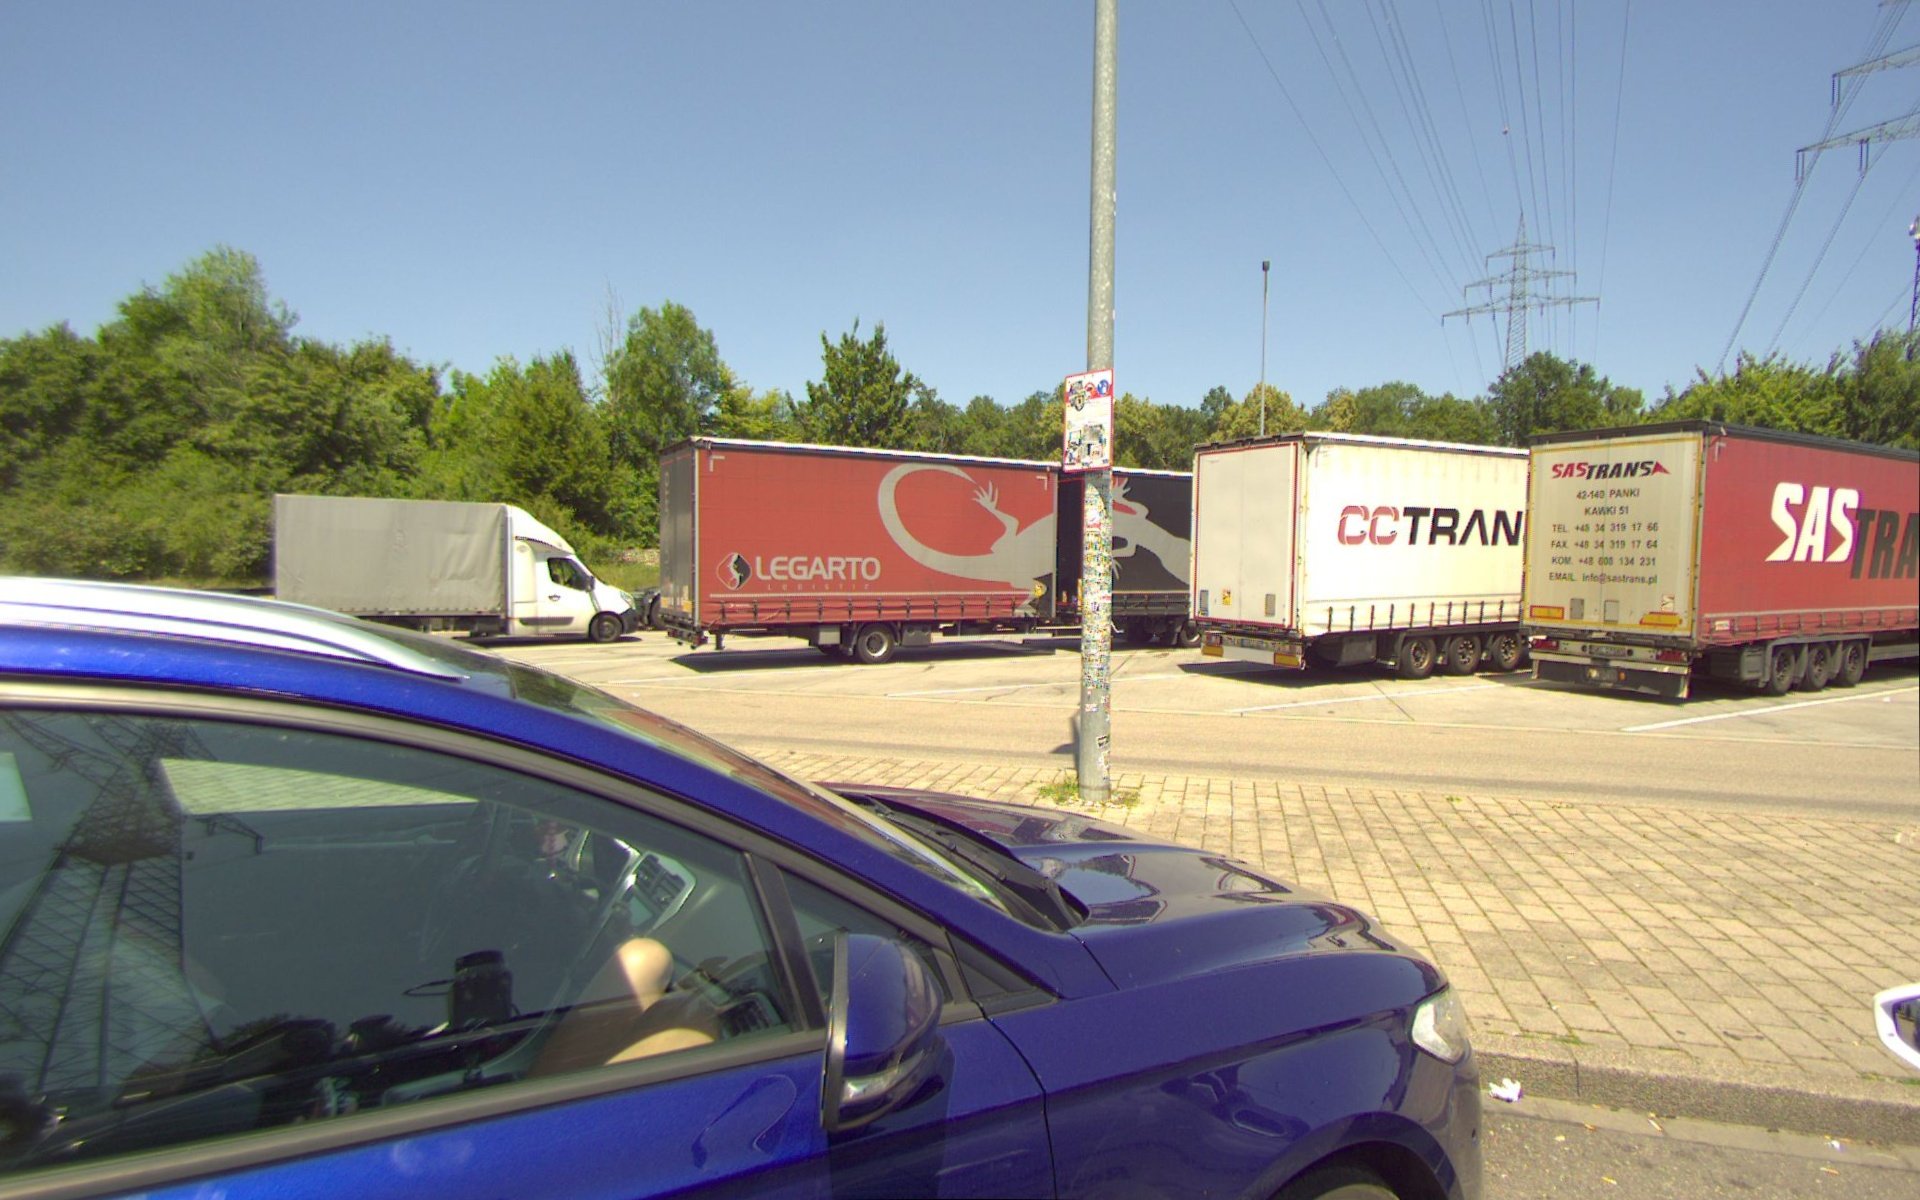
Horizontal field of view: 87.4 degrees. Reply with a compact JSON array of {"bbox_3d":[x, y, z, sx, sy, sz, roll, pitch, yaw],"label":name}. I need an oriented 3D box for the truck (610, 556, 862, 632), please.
[{"bbox_3d":[-6.473,-0.159,29.529,6.961,2.040,1.984,0,0,-30],"label":"truck"}]

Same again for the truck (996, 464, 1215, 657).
[{"bbox_3d":[3.366,-0.903,23.366,4.273,4.072,2.689,-1,3,-30],"label":"truck"}]

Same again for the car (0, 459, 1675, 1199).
[{"bbox_3d":[-0.967,0.654,1.474,4.592,1.502,1.727,0,0,-33],"label":"car"}]

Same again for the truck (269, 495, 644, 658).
[{"bbox_3d":[-11.193,-0.568,22.905,7.254,3.254,2.515,-1,3,-30],"label":"truck"}]

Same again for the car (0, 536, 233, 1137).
[{"bbox_3d":[-4.540,0.583,2.258,4.592,1.554,1.726,0,1,-33],"label":"car"}]

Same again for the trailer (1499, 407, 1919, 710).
[{"bbox_3d":[15.416,-0.705,18.569,13.559,4.189,2.892,-1,3,-30],"label":"trailer"}]

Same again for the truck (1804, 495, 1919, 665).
[{"bbox_3d":[21.737,-0.435,22.315,5.418,3.475,2.838,-1,3,-30],"label":"truck"}]

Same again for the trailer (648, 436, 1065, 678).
[{"bbox_3d":[-1.916,-0.828,20.271,7.996,4.101,2.696,-1,3,-30],"label":"trailer"}]

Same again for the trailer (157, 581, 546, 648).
[{"bbox_3d":[-14.821,0.265,25.188,7.996,1.394,2.211,-1,3,-30],"label":"trailer"}]

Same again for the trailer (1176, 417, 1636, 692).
[{"bbox_3d":[8.876,-0.821,19.333,10.049,4.267,2.714,-1,3,-30],"label":"trailer"}]
